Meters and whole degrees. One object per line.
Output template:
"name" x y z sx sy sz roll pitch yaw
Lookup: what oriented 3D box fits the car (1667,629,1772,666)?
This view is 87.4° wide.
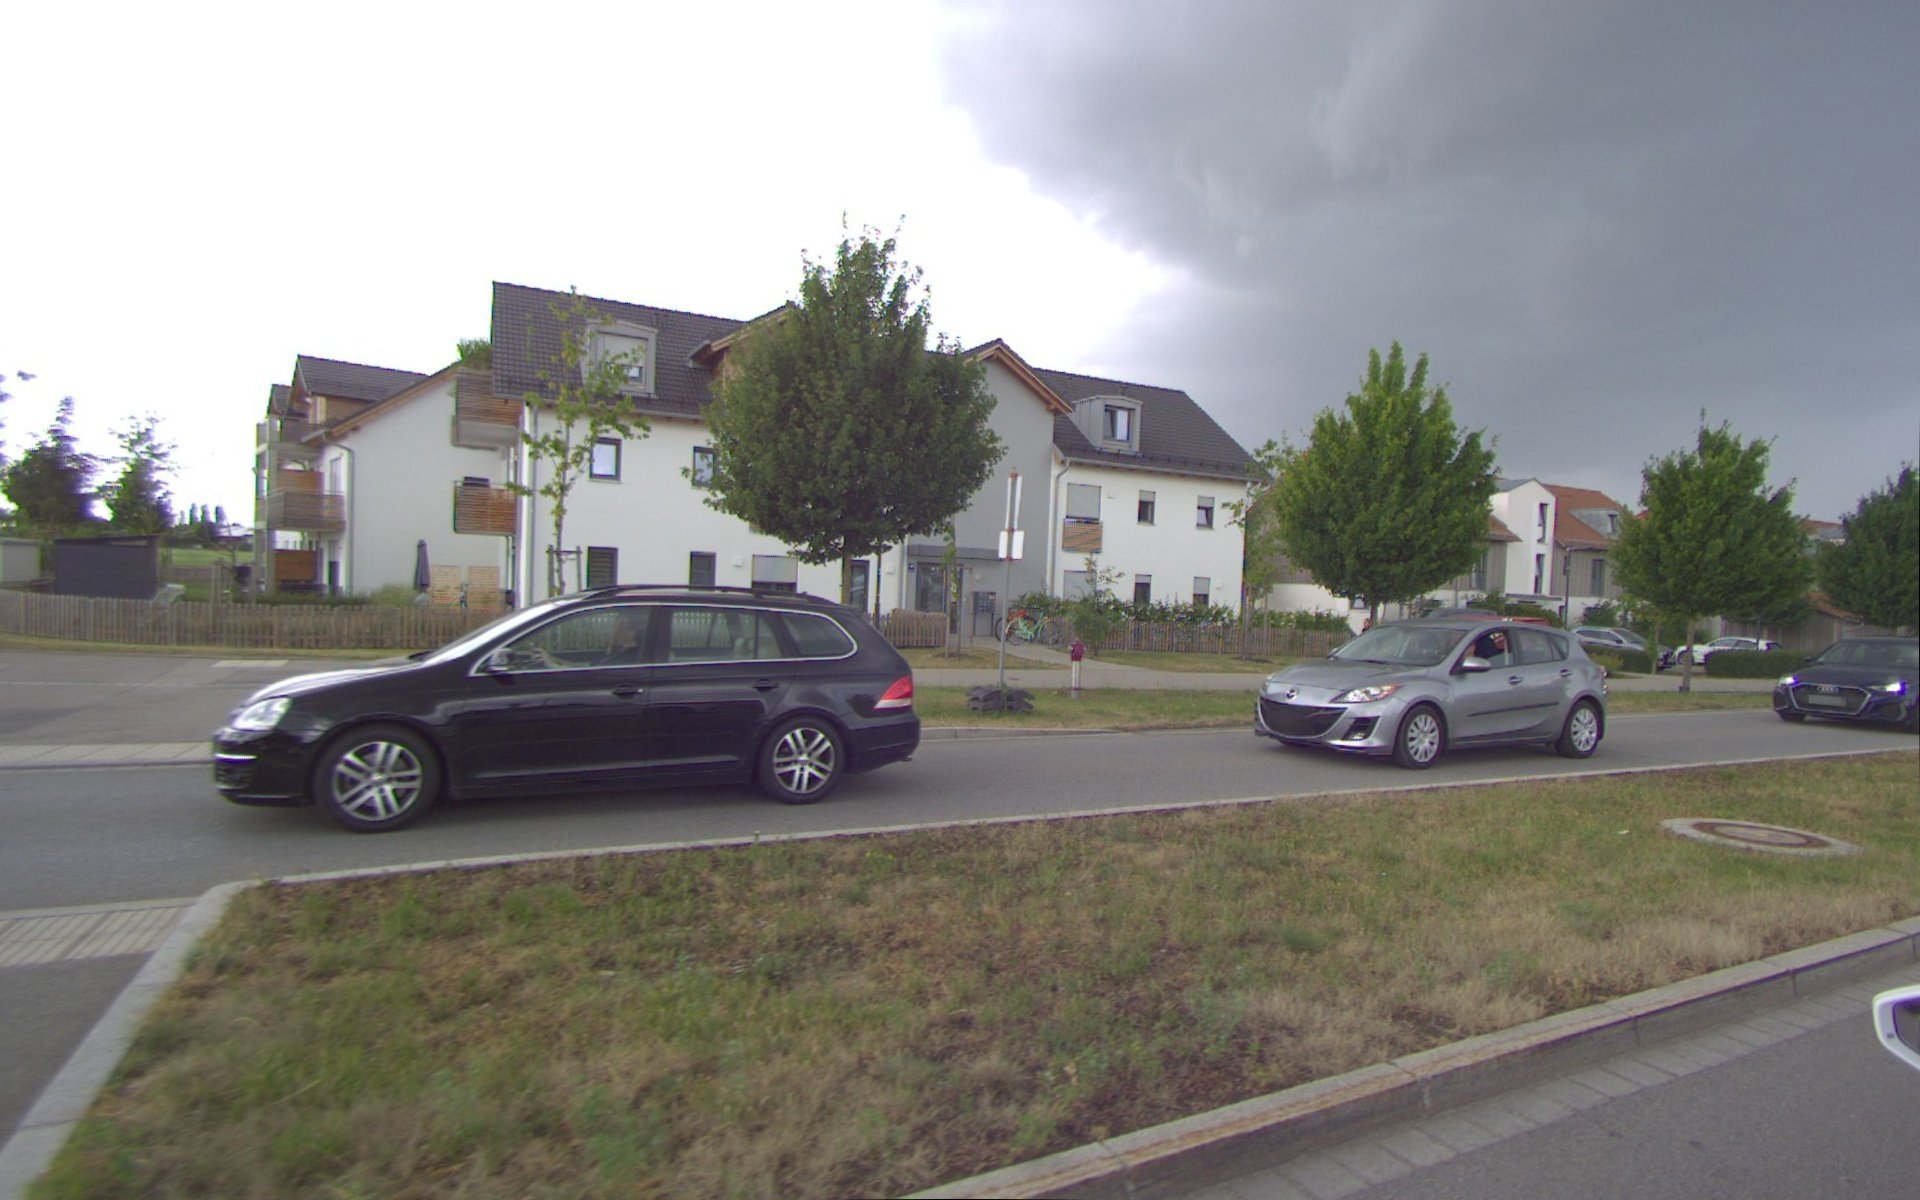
"car" 34.620 2.145 45.877 1.544 1.509 3.500 2 0 -28

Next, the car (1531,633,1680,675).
"car" 26.431 2.183 41.308 1.881 1.449 4.887 2 0 -27

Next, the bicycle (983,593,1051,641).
"bicycle" 1.793 0.546 31.470 2.069 1.447 0.679 2 0 -29

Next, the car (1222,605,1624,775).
"car" 5.045 0.872 10.861 4.164 1.508 1.818 2 0 -29

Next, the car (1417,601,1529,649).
"car" 24.770 1.227 48.491 5.131 2.041 1.986 2 4 -26

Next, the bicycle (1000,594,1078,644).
"bicycle" 2.362 0.581 29.922 2.315 1.431 0.679 2 0 -29

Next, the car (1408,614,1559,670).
"car" 19.274 1.495 37.276 1.879 1.840 4.894 2 0 -23

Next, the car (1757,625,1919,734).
"car" 15.071 1.231 16.284 4.296 1.508 1.818 2 0 -29

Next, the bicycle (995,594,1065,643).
"bicycle" 2.147 0.570 30.821 2.069 1.436 0.679 2 0 -29

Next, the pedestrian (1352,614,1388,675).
"pedestrian" 10.651 1.154 26.098 0.579 1.550 0.543 2 3 -28

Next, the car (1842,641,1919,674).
"car" 48.193 2.964 51.962 1.544 1.509 3.500 2 0 -28

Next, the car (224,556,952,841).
"car" -2.381 0.577 7.122 4.282 1.508 1.819 2 0 -27
